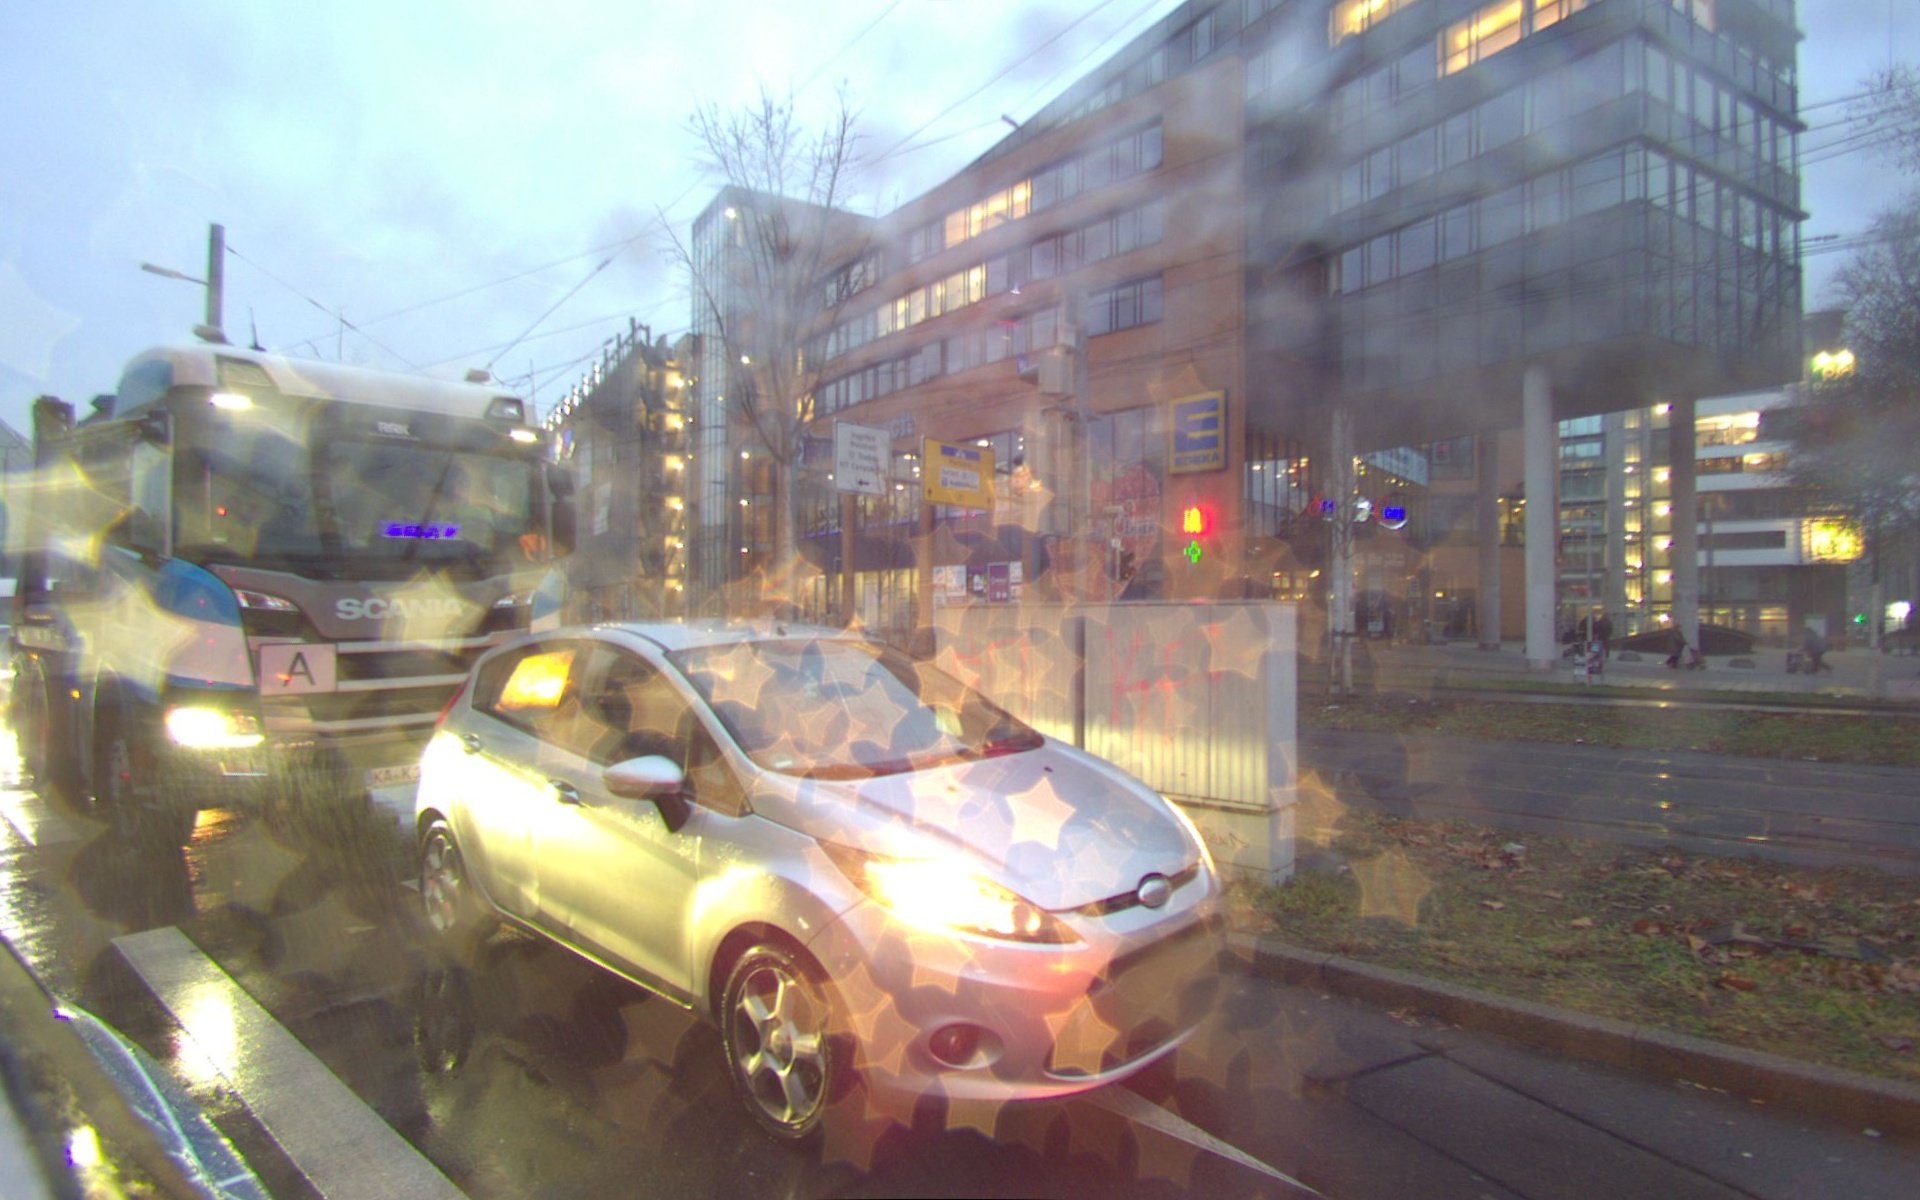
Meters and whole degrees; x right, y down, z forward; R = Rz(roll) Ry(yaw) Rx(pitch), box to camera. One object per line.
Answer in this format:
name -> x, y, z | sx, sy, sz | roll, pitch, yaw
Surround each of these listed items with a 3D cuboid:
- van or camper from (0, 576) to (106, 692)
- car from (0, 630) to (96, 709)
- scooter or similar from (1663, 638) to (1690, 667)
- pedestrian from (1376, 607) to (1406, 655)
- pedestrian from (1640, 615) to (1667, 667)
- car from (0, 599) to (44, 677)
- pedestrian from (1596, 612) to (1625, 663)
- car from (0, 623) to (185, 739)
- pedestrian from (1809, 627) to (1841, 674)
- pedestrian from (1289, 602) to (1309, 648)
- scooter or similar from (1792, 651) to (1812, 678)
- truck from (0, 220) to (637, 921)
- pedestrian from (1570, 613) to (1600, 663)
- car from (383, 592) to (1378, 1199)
van or camper -> -23.041, 0.816, 24.912 | 5.894, 2.551, 2.126 | -1, -2, 40
car -> -17.770, 1.246, 19.142 | 4.057, 1.355, 1.735 | -1, -2, 43
scooter or similar -> 24.506, 1.798, 34.621 | 0.545, 0.968, 0.667 | 2, -2, -43
pedestrian -> 16.251, 1.166, 38.177 | 0.782, 1.766, 0.704 | 0, -2, -1
pedestrian -> 24.061, 1.405, 35.121 | 0.564, 1.787, 0.638 | 2, -2, -43
car -> -37.325, 1.452, 39.176 | 5.811, 2.885, 2.101 | -1, -2, 42
pedestrian -> 24.613, 1.419, 38.311 | 0.723, 1.878, 0.574 | 1, -2, -14
car -> -13.286, 1.127, 15.372 | 3.939, 1.535, 1.613 | -1, -2, 41
pedestrian -> 27.538, 1.591, 32.213 | 0.564, 1.470, 0.685 | 2, -2, -43
pedestrian -> 13.324, 0.987, 39.758 | 0.658, 1.766, 0.534 | 0, -2, 12
scooter or similar -> 27.150, 2.082, 32.632 | 0.545, 0.856, 0.433 | 2, -2, -43
truck -> -6.145, -0.083, 8.800 | 7.521, 3.661, 2.810 | -1, -2, 40
pedestrian -> 23.513, 1.437, 38.078 | 0.723, 1.878, 0.574 | 1, -2, -13
car -> -0.676, 0.730, 4.038 | 4.000, 1.458, 1.687 | -1, 0, 43
